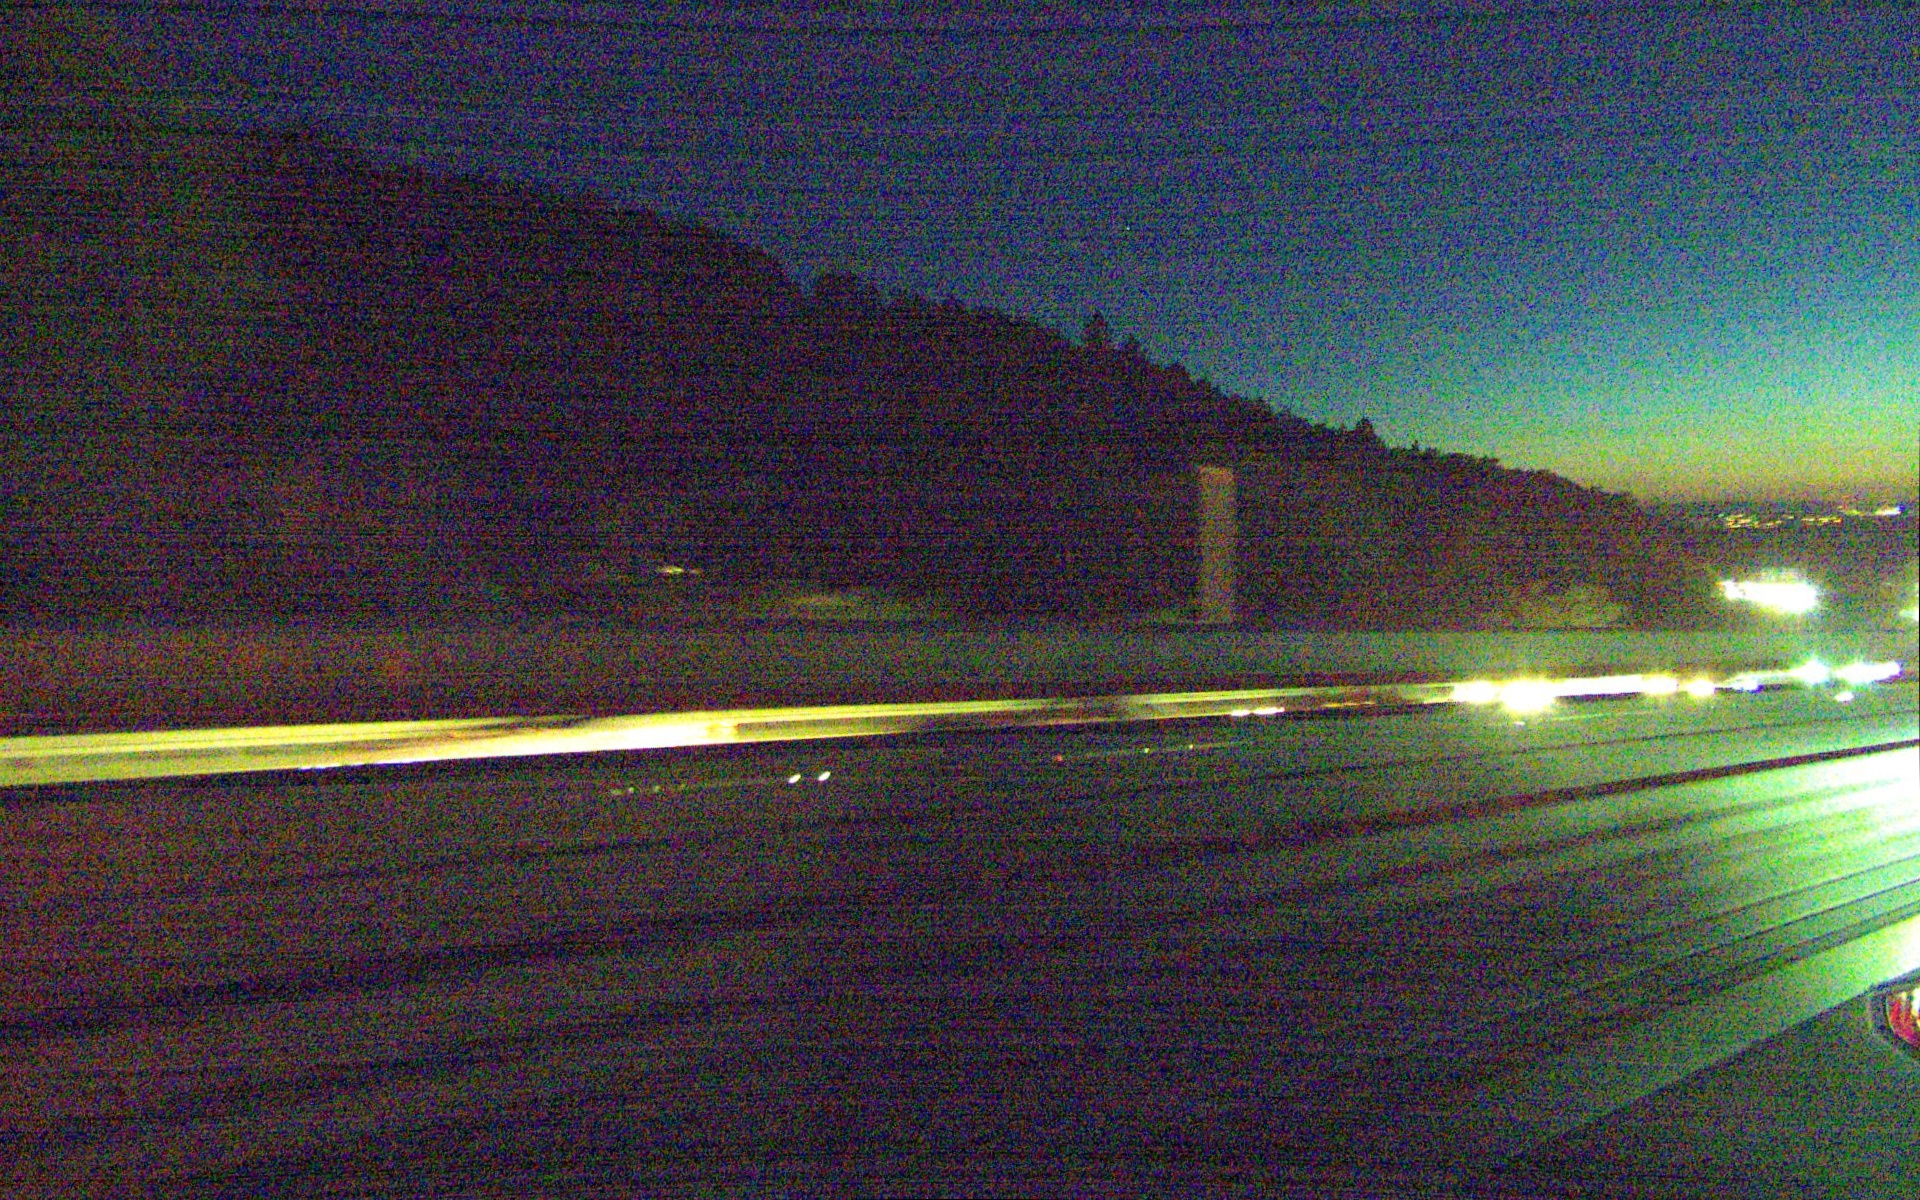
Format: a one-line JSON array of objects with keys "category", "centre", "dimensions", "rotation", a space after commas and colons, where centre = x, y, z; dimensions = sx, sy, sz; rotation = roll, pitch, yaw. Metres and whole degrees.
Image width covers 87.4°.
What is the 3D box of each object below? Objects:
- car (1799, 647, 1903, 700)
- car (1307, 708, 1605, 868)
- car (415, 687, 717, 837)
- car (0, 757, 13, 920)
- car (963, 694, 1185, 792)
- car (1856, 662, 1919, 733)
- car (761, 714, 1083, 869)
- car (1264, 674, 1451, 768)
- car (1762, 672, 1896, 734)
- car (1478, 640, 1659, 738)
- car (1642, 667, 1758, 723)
[{"category": "car", "centre": [38.531, 3.108, 43.391], "dimensions": [5.059, 2.081, 2.127], "rotation": [1, -2, -34]}, {"category": "car", "centre": [6.820, 2.406, 13.674], "dimensions": [4.235, 1.488, 1.805], "rotation": [0, -1, -34]}, {"category": "car", "centre": [-5.845, 2.291, 15.038], "dimensions": [3.956, 1.739, 1.743], "rotation": [1, -1, -32]}, {"category": "car", "centre": [-10.605, 2.208, 7.611], "dimensions": [4.660, 1.473, 1.892], "rotation": [1, -1, -32]}, {"category": "car", "centre": [2.192, 2.629, 19.057], "dimensions": [3.958, 1.477, 1.812], "rotation": [1, -3, -33]}, {"category": "car", "centre": [23.690, 2.343, 24.472], "dimensions": [4.235, 1.488, 1.805], "rotation": [1, -1, -34]}, {"category": "car", "centre": [-0.450, 2.403, 13.372], "dimensions": [3.960, 1.477, 1.811], "rotation": [1, -3, -35]}, {"category": "car", "centre": [8.847, 2.593, 22.304], "dimensions": [3.956, 1.739, 1.940], "rotation": [1, -2, -32]}, {"category": "car", "centre": [28.168, 3.258, 32.507], "dimensions": [5.061, 1.644, 2.125], "rotation": [1, -2, -35]}, {"category": "car", "centre": [17.260, 2.410, 28.415], "dimensions": [5.630, 2.474, 2.017], "rotation": [1, 0, -31]}, {"category": "car", "centre": [24.601, 3.090, 33.358], "dimensions": [4.235, 1.578, 1.805], "rotation": [1, -1, -34]}]
